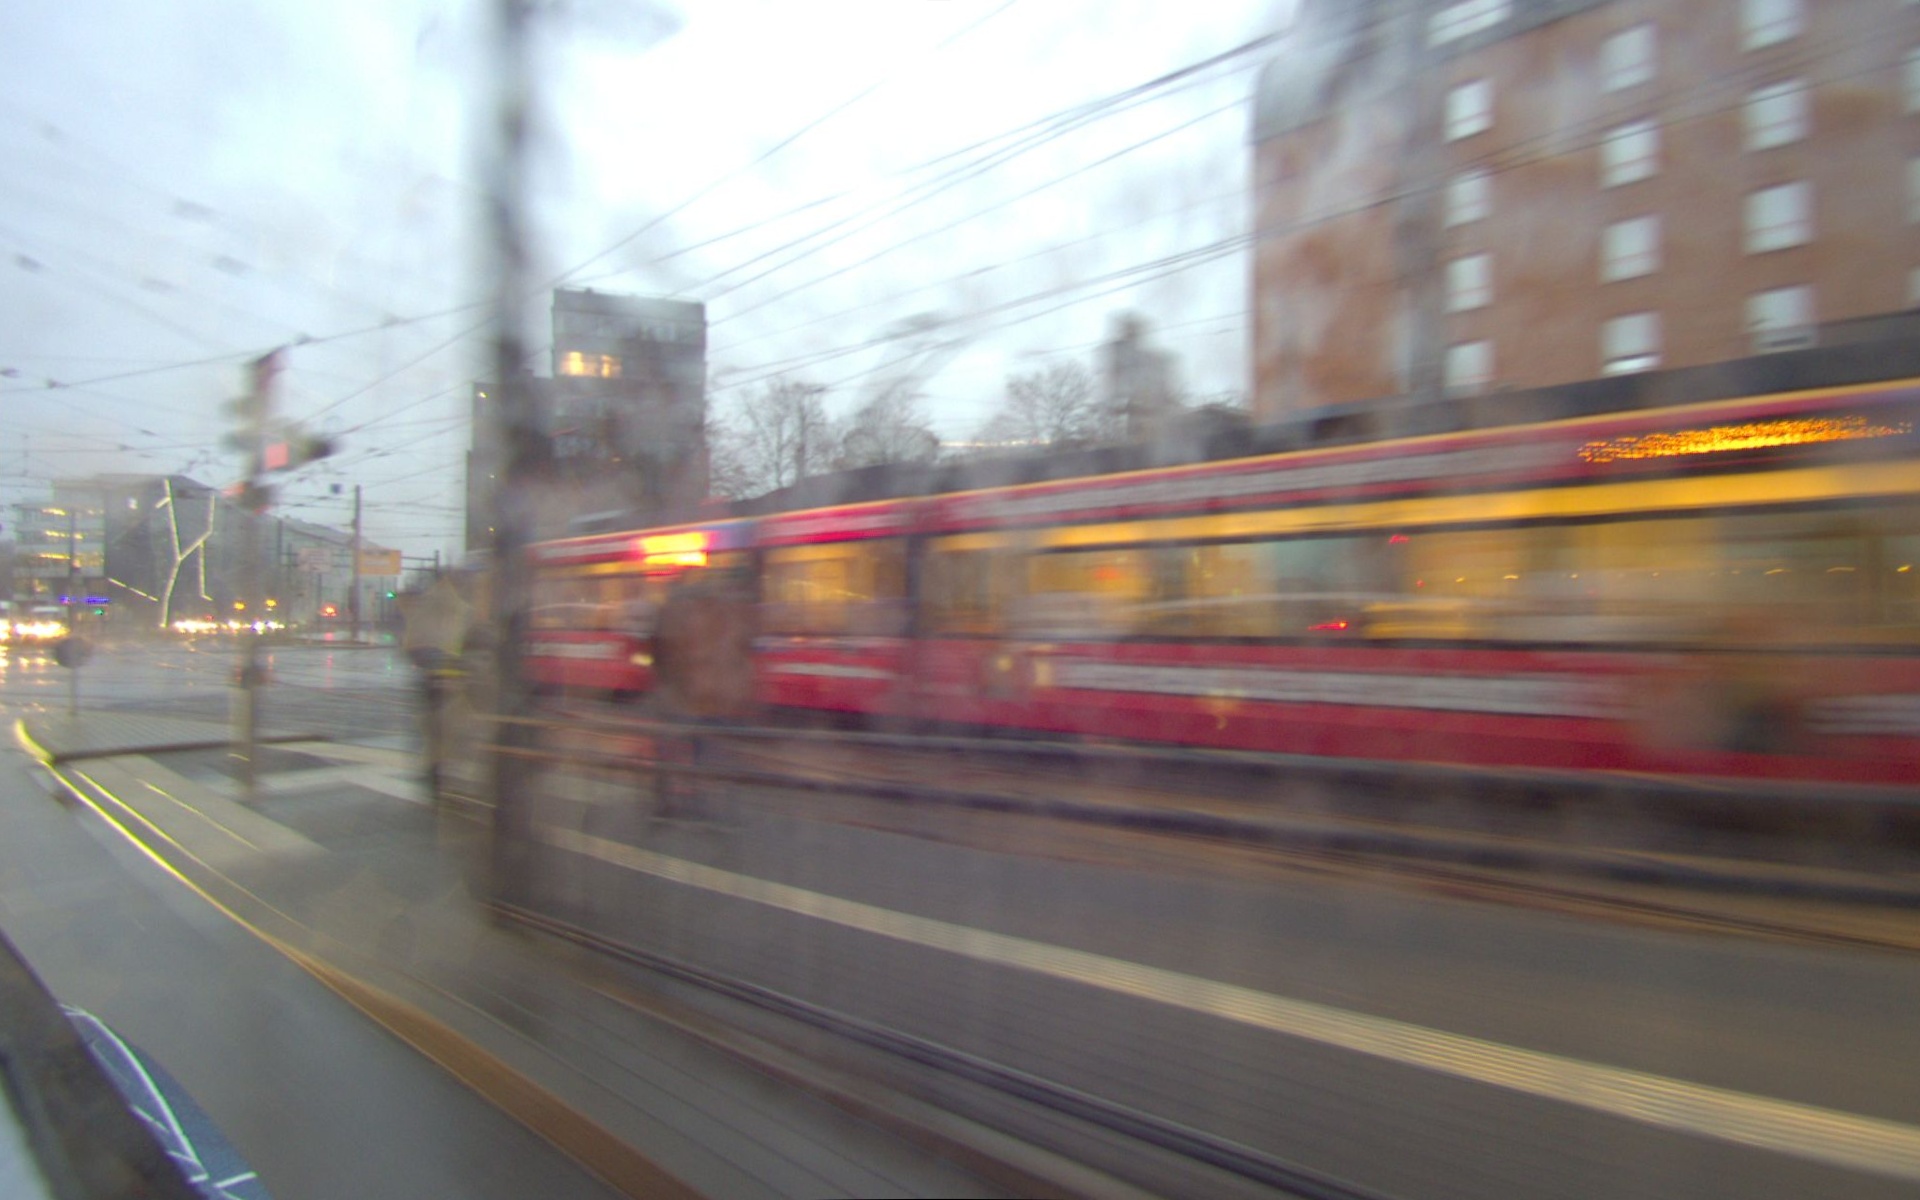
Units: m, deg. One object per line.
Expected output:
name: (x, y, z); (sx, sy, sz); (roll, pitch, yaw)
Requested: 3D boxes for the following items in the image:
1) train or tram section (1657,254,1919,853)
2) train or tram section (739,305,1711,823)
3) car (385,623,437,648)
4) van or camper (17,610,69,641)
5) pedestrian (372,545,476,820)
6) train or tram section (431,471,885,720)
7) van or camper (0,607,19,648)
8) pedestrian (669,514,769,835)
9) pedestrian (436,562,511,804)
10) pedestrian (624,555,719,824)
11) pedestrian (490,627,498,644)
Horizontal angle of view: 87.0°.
train or tram section: (9.798, -0.357, 4.194); (11.037, 3.595, 2.867); (-1, -1, 44)
train or tram section: (1.785, -0.175, 11.917); (11.037, 3.605, 2.892); (-1, -1, 44)
car: (-33.495, 2.137, 61.697); (4.202, 1.506, 1.649); (-1, -2, 44)
van or camper: (-73.217, 2.049, 80.875); (2.150, 2.370, 5.665); (-1, -1, -32)
pedestrian: (-3.826, 0.562, 7.220); (0.669, 1.859, 0.408); (-1, -2, 38)
train or tram section: (-6.698, 0.020, 20.020); (12.257, 3.616, 2.917); (-1, -1, 44)
van or camper: (-62.005, 1.752, 64.627); (2.028, 2.567, 5.900); (-1, 0, -35)
pedestrian: (-1.566, 0.461, 6.573); (0.473, 1.982, 0.429); (-1, -2, 38)
pedestrian: (-3.772, 0.624, 7.846); (0.439, 1.800, 0.356); (-1, -2, 38)
pedestrian: (-1.965, 0.588, 6.900); (0.473, 1.748, 0.429); (-1, -2, 38)
pedestrian: (-34.417, 2.633, 74.720); (0.439, 1.274, 0.497); (0, -1, -41)
